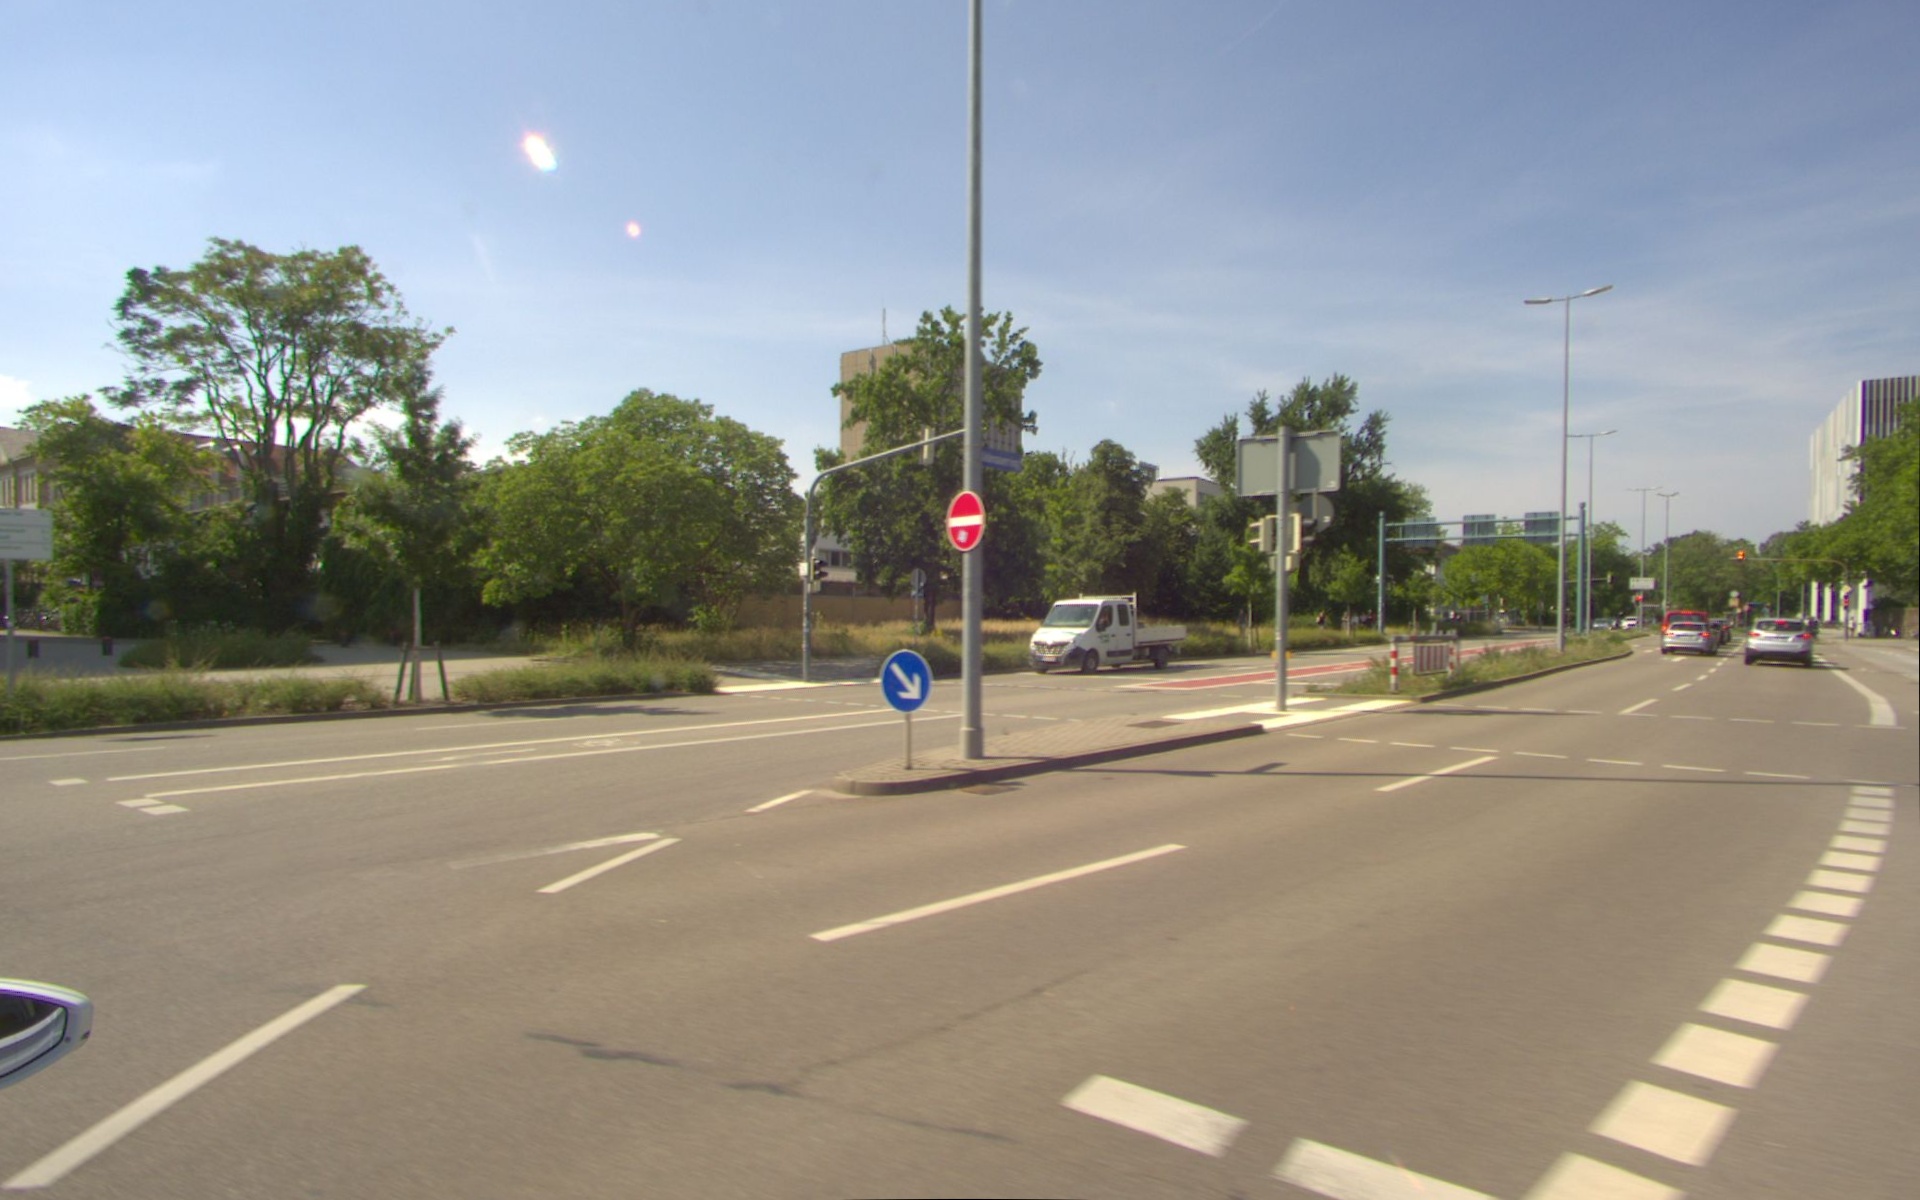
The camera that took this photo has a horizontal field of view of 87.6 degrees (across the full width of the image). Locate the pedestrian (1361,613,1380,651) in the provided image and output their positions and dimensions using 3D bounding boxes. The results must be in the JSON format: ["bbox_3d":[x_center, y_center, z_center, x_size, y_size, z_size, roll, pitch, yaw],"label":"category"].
[{"bbox_3d":[28.723,2.236,70.019,0.942,2.565,1.117,1,-2,36],"label":"pedestrian"}]

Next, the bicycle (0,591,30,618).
[{"bbox_3d":[-54.267,0.232,56.298,0.830,1.520,2.814,1,0,35],"label":"bicycle"}]

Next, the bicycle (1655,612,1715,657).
[{"bbox_3d":[31.050,1.424,42.845,1.975,1.839,3.973,0,0,37],"label":"bicycle"}]

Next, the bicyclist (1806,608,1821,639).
[{"bbox_3d":[57.831,1.620,67.846,0.769,2.039,1.264,0,-2,42],"label":"bicyclist"}]

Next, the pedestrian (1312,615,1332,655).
[{"bbox_3d":[23.710,2.286,65.609,0.942,2.565,1.117,1,-2,36],"label":"pedestrian"}]

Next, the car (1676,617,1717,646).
[{"bbox_3d":[41.363,1.753,56.269,1.777,1.529,3.975,-2,-2,36],"label":"car"}]

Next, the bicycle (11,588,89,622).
[{"bbox_3d":[-46.541,0.253,51.250,0.830,1.671,2.814,1,1,35],"label":"bicycle"}]

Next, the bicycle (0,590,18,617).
[{"bbox_3d":[-55.829,0.192,57.218,0.830,1.500,2.814,1,0,35],"label":"bicycle"}]

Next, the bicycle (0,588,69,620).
[{"bbox_3d":[-48.415,0.206,52.206,0.830,1.608,2.814,1,0,35],"label":"bicycle"}]

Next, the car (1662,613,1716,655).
[{"bbox_3d":[34.715,1.566,47.767,1.952,1.821,4.583,1,0,35],"label":"car"}]

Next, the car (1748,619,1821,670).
[{"bbox_3d":[28.833,1.504,34.985,1.693,1.640,4.180,1,0,43],"label":"car"}]

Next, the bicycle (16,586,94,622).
[{"bbox_3d":[-45.458,0.207,50.355,0.830,1.768,2.814,1,1,35],"label":"bicycle"}]

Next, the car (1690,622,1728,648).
[{"bbox_3d":[45.760,2.114,61.239,1.777,1.529,3.975,-2,-2,36],"label":"car"}]

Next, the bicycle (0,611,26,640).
[{"bbox_3d":[-53.042,1.396,54.722,0.830,1.580,2.814,1,0,35],"label":"bicycle"}]

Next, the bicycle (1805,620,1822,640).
[{"bbox_3d":[57.788,2.020,67.812,0.839,1.233,3.459,0,-3,41],"label":"bicycle"}]

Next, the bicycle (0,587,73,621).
[{"bbox_3d":[-47.609,0.218,51.521,0.830,1.682,2.814,3,1,35],"label":"bicycle"}]

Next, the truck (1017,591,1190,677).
[{"bbox_3d":[4.692,1.003,31.578,2.382,2.386,7.001,-1,-1,36],"label":"truck"}]

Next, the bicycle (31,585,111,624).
[{"bbox_3d":[-43.584,0.205,49.141,0.830,1.861,2.814,1,1,35],"label":"bicycle"}]
